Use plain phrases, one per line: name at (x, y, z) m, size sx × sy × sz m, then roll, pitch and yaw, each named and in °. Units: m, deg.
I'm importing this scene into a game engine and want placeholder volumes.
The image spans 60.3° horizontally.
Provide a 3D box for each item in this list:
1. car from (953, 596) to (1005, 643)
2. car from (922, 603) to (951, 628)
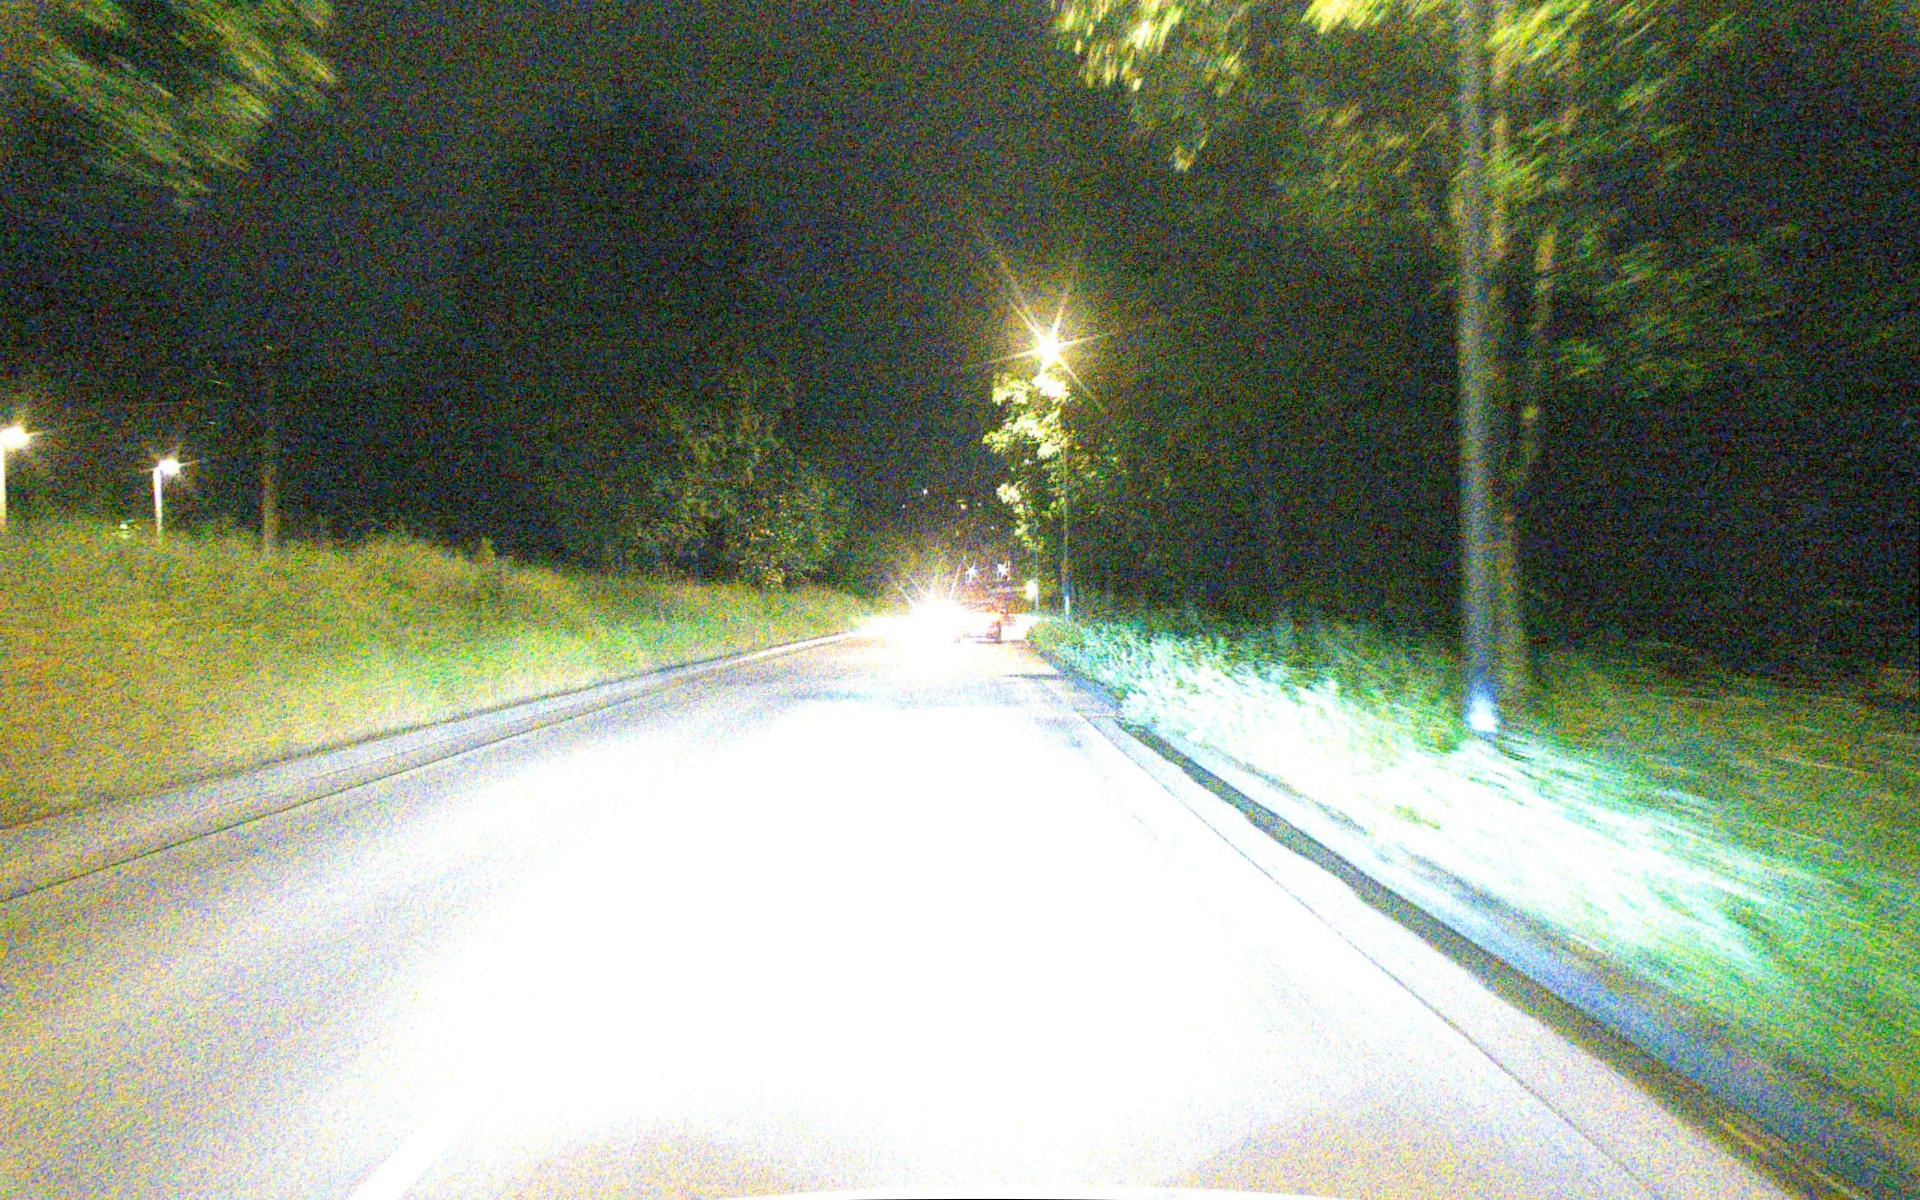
car at (0.669, 0.698, 61.007) m, size 1.727 × 1.670 × 3.721 m, roll 0°, pitch 0°, yaw -2°
car at (-1.388, 0.923, 98.757) m, size 1.653 × 1.483 × 4.000 m, roll 0°, pitch 0°, yaw 0°
